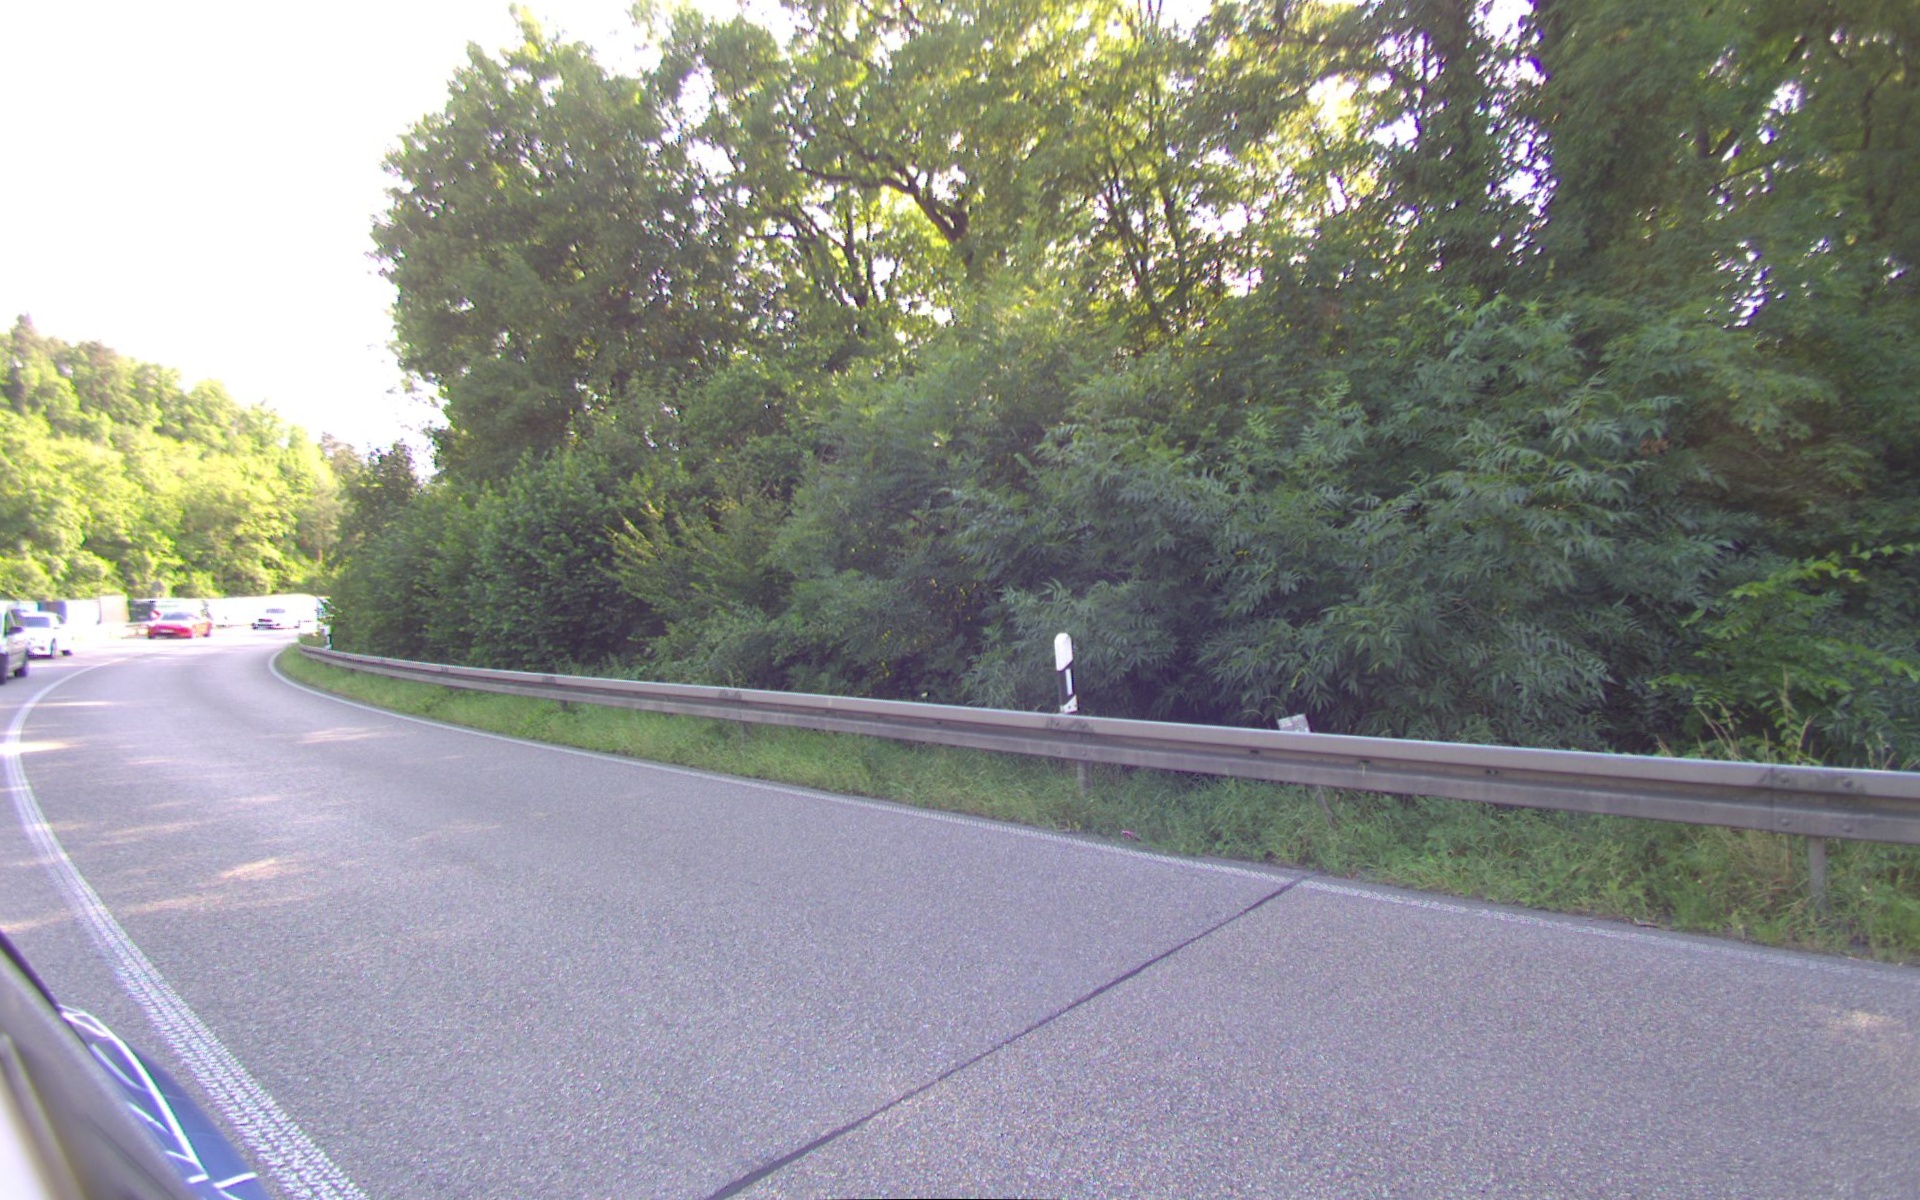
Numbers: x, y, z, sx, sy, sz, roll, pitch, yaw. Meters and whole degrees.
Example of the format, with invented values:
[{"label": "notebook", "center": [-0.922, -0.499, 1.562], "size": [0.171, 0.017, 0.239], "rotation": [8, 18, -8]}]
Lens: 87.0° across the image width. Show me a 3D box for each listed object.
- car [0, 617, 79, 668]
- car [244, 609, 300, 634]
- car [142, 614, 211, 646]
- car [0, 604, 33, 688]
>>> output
[{"label": "car", "center": [-29.908, 1.327, 32.423], "size": [1.866, 1.456, 4.488], "rotation": [-3, 1, -33]}, {"label": "car", "center": [-45.417, 1.398, 66.912], "size": [1.884, 1.476, 4.551], "rotation": [-3, 1, -19]}, {"label": "car", "center": [-39.435, 1.488, 51.051], "size": [1.828, 1.431, 4.434], "rotation": [0, 0, -25]}, {"label": "car", "center": [-21.814, 0.971, 22.025], "size": [1.838, 1.733, 4.775], "rotation": [0, 0, -36]}]
